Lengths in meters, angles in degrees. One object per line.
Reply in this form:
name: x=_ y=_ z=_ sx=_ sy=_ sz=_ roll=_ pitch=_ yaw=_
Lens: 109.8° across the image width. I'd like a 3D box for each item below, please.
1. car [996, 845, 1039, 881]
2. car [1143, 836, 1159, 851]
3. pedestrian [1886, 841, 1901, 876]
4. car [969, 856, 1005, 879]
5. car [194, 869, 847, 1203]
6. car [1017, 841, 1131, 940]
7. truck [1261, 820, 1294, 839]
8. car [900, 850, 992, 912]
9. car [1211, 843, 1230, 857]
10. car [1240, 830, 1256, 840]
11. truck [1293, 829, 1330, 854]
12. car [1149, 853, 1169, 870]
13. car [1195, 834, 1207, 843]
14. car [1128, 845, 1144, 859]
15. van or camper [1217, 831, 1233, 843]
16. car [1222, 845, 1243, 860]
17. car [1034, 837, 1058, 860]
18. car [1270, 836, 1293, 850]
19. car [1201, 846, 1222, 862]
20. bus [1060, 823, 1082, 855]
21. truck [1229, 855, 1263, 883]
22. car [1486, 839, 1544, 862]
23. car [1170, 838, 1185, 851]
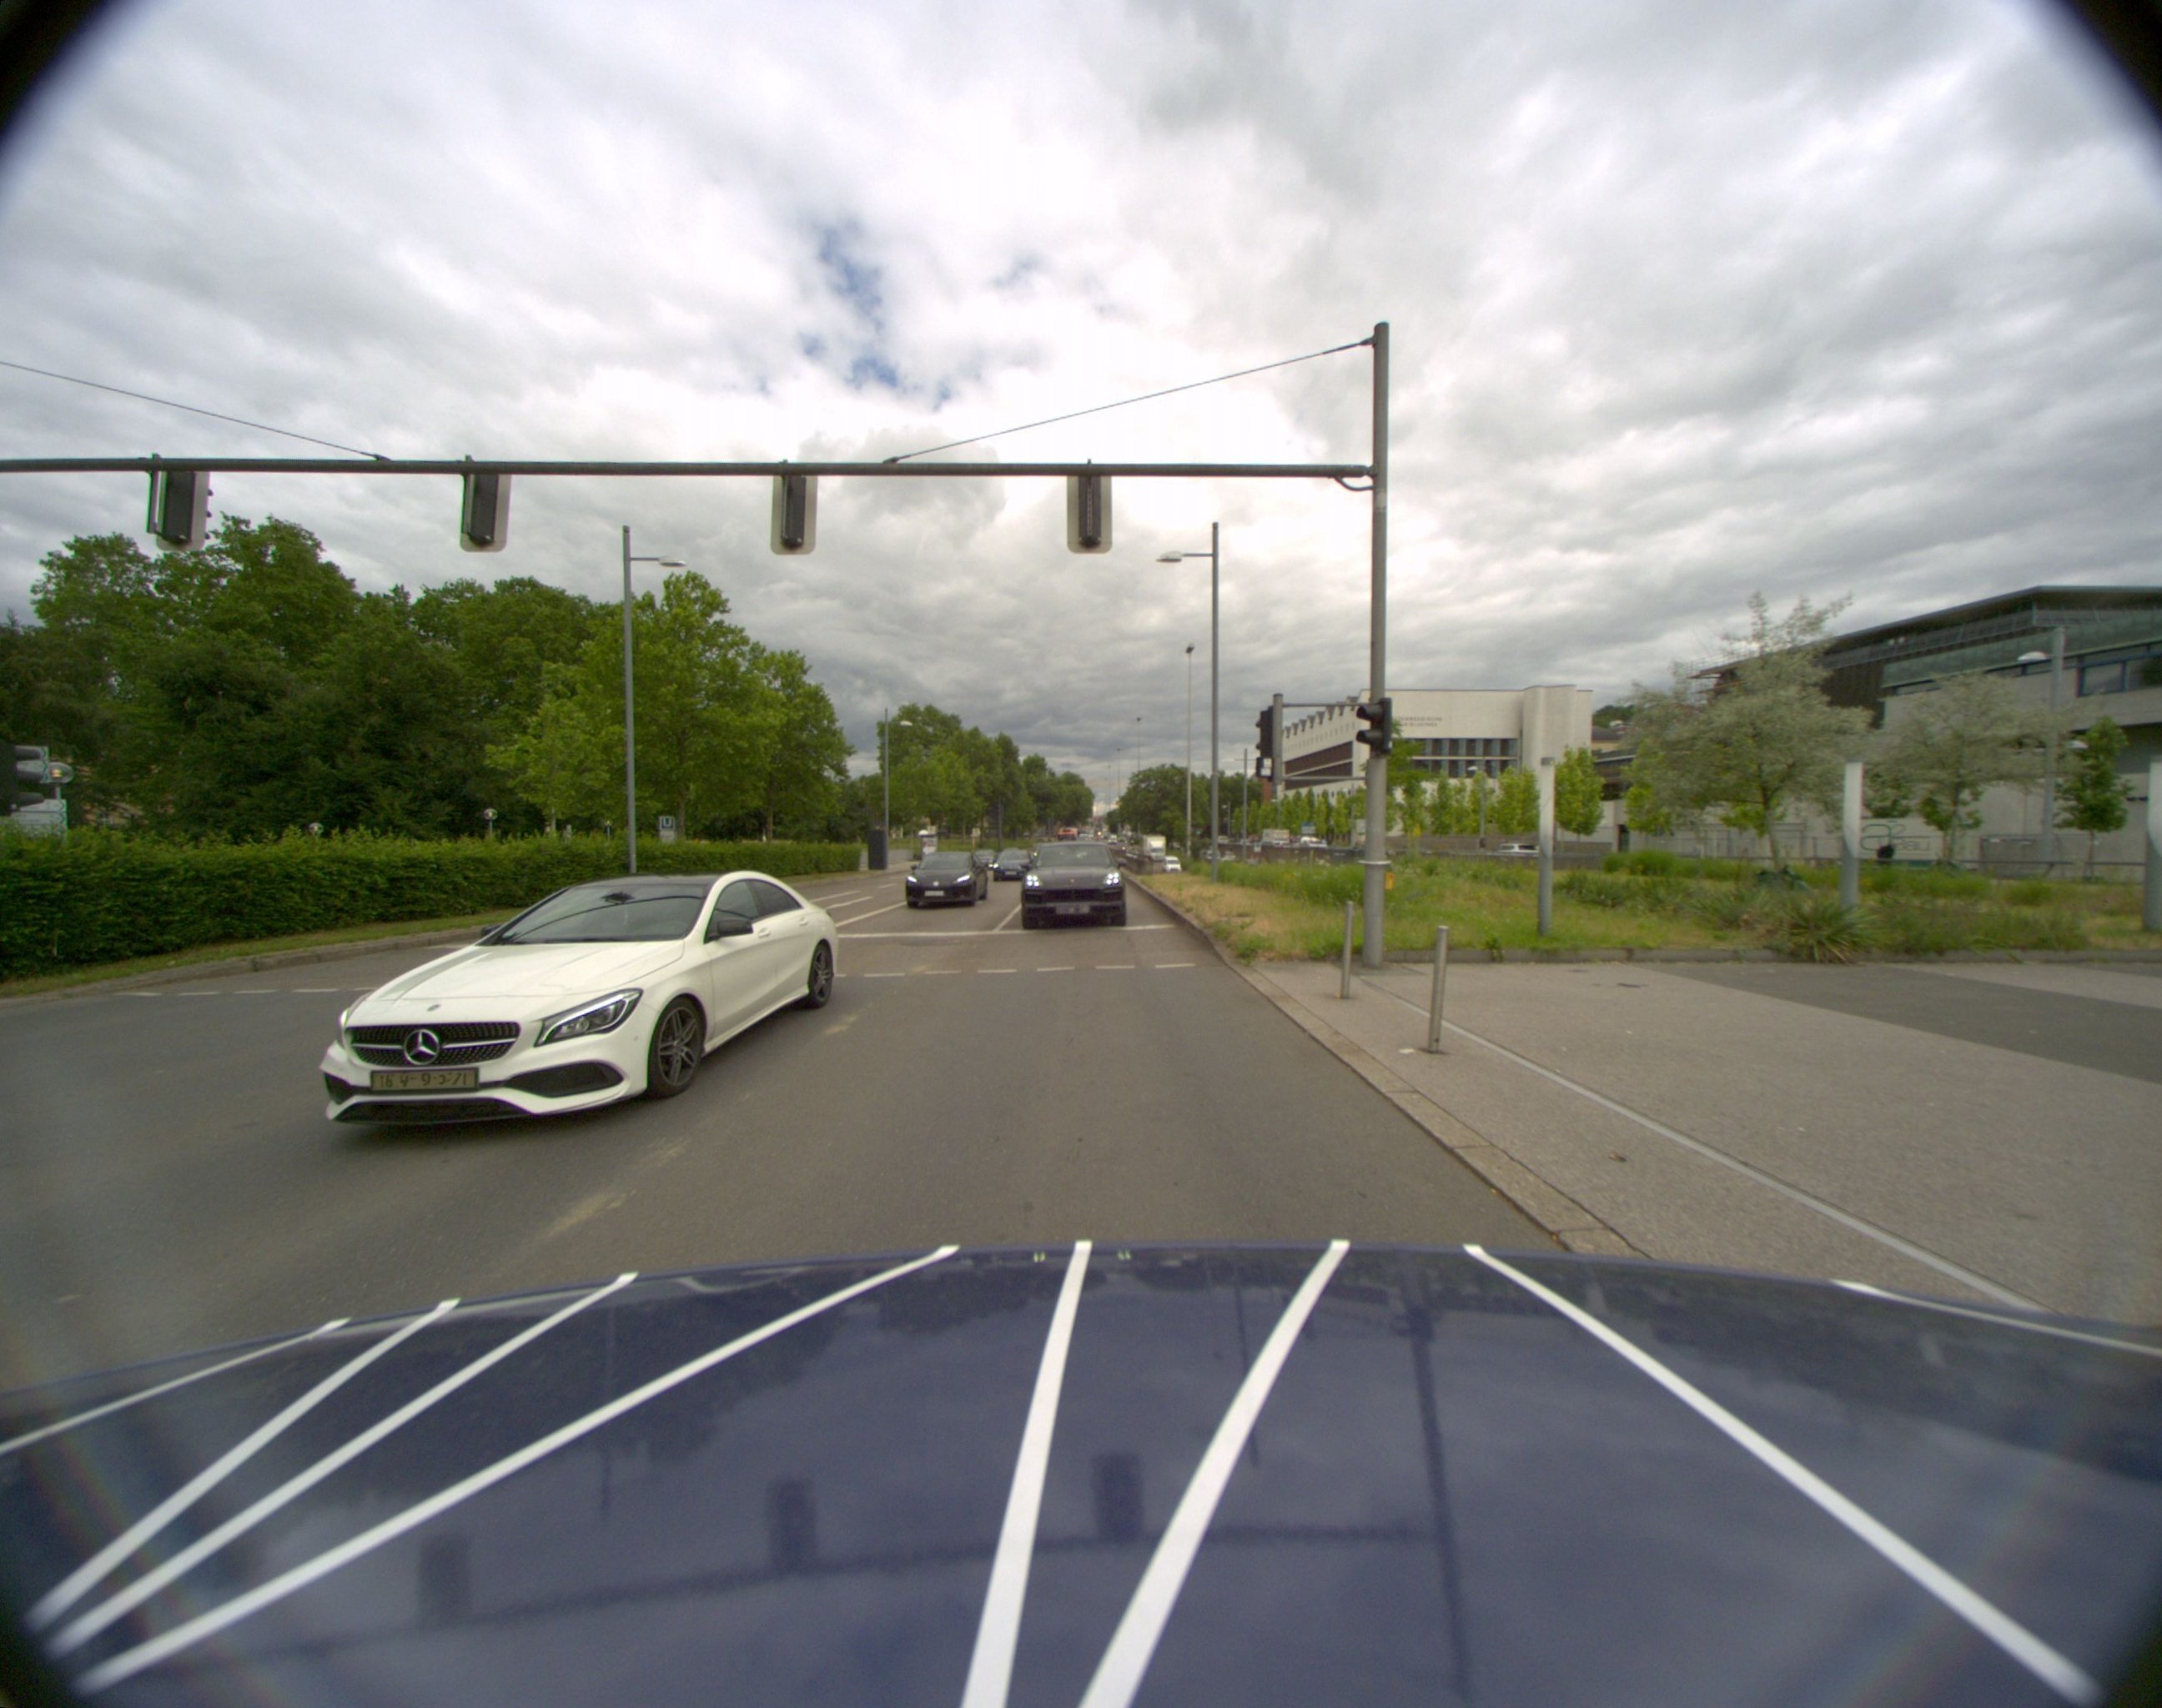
car: x=-3.019 y=0.375 z=36.619 sx=1.573 sy=1.528 sz=4.000 roll=-2 pitch=2 yaw=1
car: x=9.788 y=-1.443 z=106.353 sx=1.997 sy=2.002 sz=4.001 roll=-1 pitch=2 yaw=9
pedestrian: x=35.469 y=0.177 z=33.187 sx=0.318 sy=1.513 sz=0.316 roll=-2 pitch=2 yaw=-6
car: x=-6.469 y=0.900 z=52.543 sx=1.867 sy=1.412 sz=3.999 roll=-2 pitch=2 yaw=1
car: x=-3.441 y=0.946 z=5.989 sx=1.723 sy=1.416 sz=4.505 roll=-1 pitch=2 yaw=1
car: x=-0.101 y=0.619 z=15.670 sx=1.938 sy=1.668 sz=4.679 roll=-2 pitch=1 yaw=0
truck: x=30.543 y=-3.732 z=118.381 sx=3.239 sy=2.771 sz=7.253 roll=-1 pitch=1 yaw=1
car: x=-3.719 y=0.696 z=21.615 sx=1.830 sy=1.515 sz=4.119 roll=-1 pitch=1 yaw=0
car: x=20.975 y=-0.677 z=114.372 sx=1.998 sy=2.002 sz=3.999 roll=2 pitch=1 yaw=0
car: x=27.122 y=-3.066 z=123.662 sx=1.723 sy=1.565 sz=4.270 roll=-1 pitch=1 yaw=2
truck: x=28.050 y=-1.509 z=92.780 sx=2.470 sy=2.800 sz=7.078 roll=-1 pitch=1 yaw=2
car: x=9.245 y=0.843 z=90.444 sx=1.998 sy=2.002 sz=3.999 roll=0 pitch=1 yaw=0
car: x=26.262 y=-3.342 z=166.949 sx=1.998 sy=1.805 sz=3.999 roll=-1 pitch=1 yaw=0
car: x=7.993 y=-0.270 z=111.625 sx=1.998 sy=2.002 sz=3.999 roll=-2 pitch=1 yaw=0
van or camper: x=26.400 y=-3.090 z=139.296 sx=1.998 sy=2.002 sz=4.556 roll=-1 pitch=1 yaw=0
car: x=20.874 y=-0.202 z=104.865 sx=1.998 sy=2.002 sz=3.999 roll=2 pitch=1 yaw=0
car: x=-2.947 y=-0.506 z=63.864 sx=1.723 sy=1.851 sz=4.429 roll=-1 pitch=2 yaw=1
car: x=27.363 y=-1.499 z=103.885 sx=1.998 sy=1.805 sz=4.257 roll=-1 pitch=1 yaw=0
car: x=17.349 y=-0.035 z=101.263 sx=1.998 sy=2.002 sz=4.332 roll=2 pitch=1 yaw=0
bus: x=-1.407 y=-2.179 z=109.214 sx=3.043 sy=4.328 sz=8.746 roll=-1 pitch=2 yaw=-1
truck: x=17.294 y=1.503 z=79.736 sx=2.324 sy=2.676 sz=5.978 roll=-1 pitch=1 yaw=1
car: x=31.389 y=-0.288 z=55.109 sx=1.723 sy=1.565 sz=4.612 roll=-1 pitch=1 yaw=2
car: x=17.624 y=-1.751 z=138.929 sx=1.998 sy=2.119 sz=4.851 roll=2 pitch=1 yaw=0
